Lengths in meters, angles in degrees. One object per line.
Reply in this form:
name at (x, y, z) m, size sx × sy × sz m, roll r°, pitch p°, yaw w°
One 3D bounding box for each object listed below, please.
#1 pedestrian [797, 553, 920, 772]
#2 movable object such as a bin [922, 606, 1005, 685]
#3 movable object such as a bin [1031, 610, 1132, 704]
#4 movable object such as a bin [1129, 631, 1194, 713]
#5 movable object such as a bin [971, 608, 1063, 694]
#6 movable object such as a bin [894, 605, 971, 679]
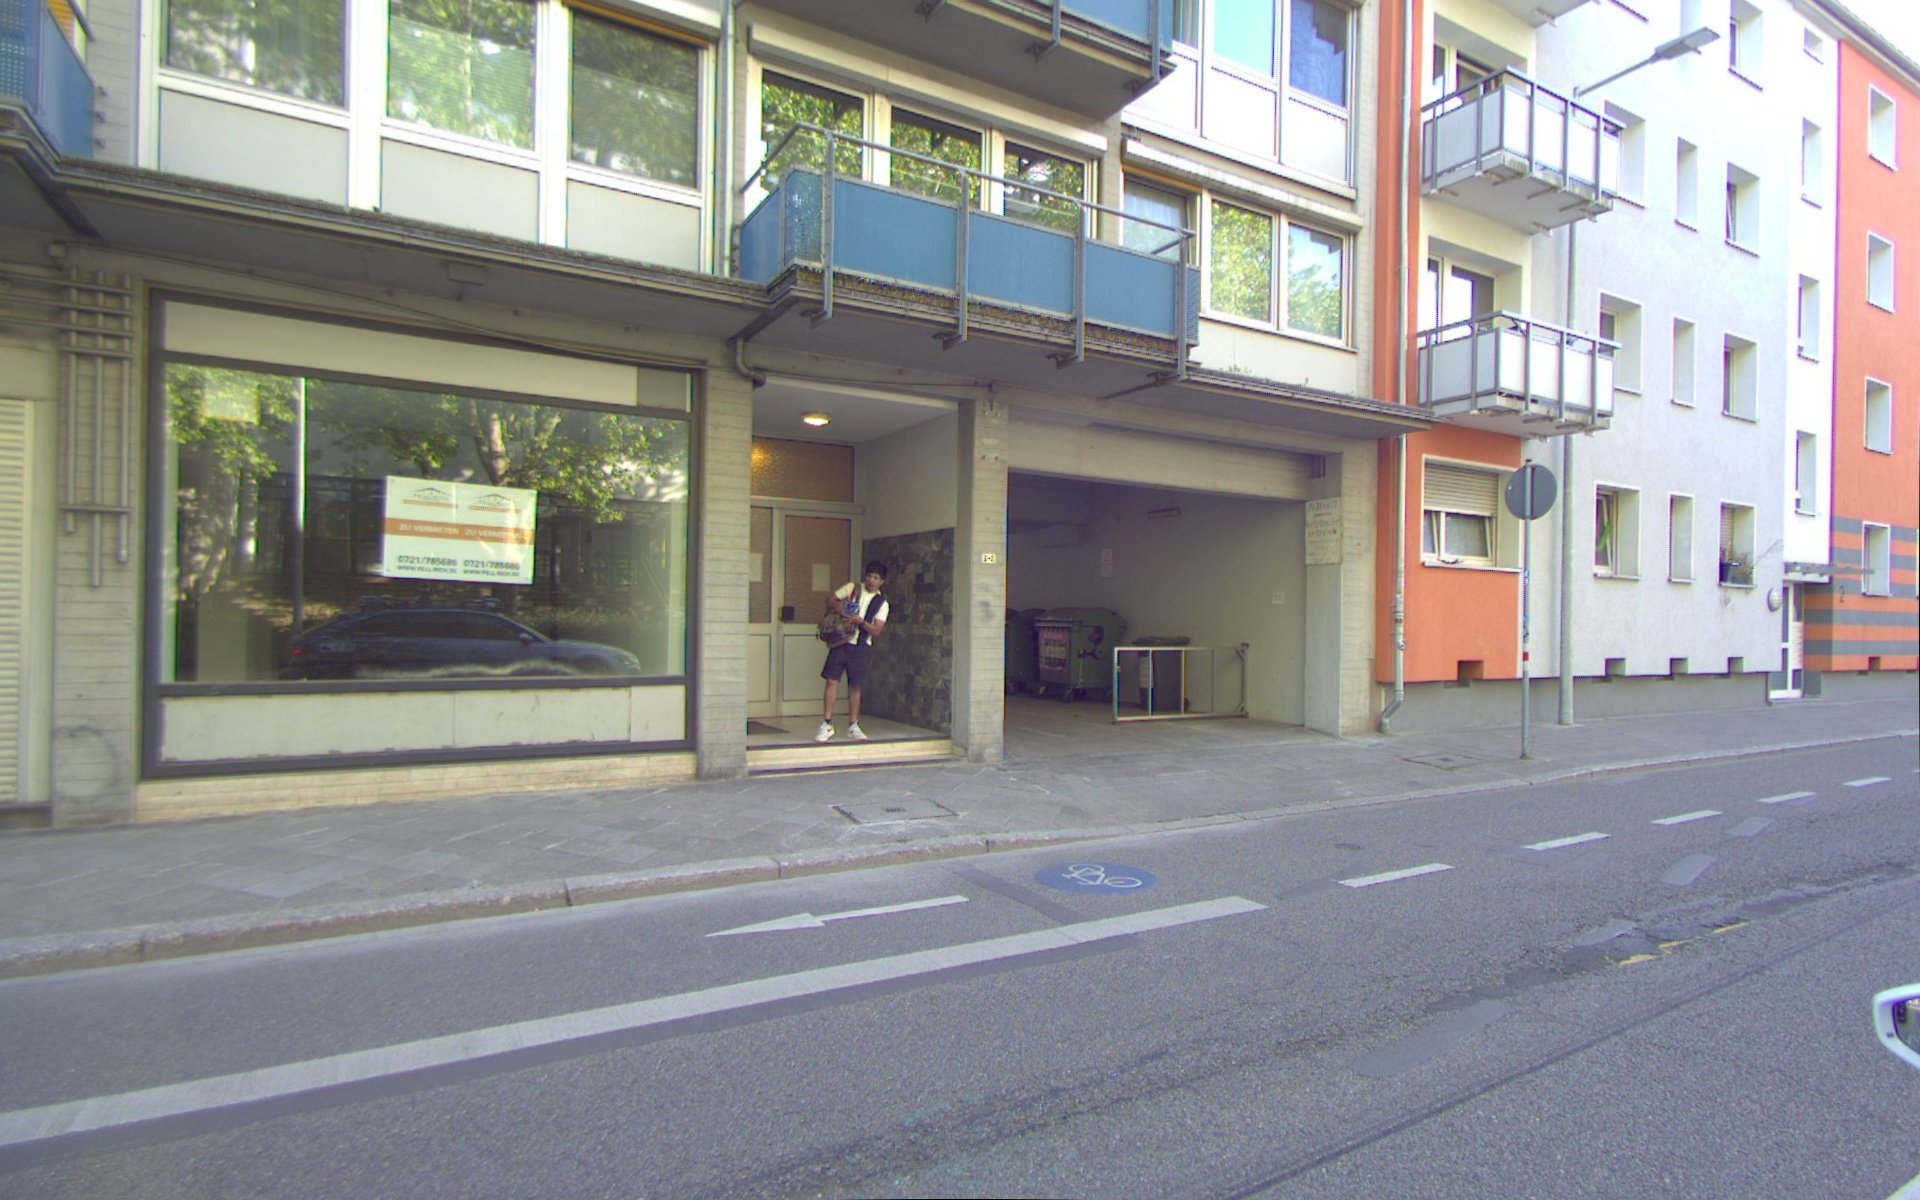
pedestrian at (-0.940, 0.553, 9.256) m, size 0.882 × 1.902 × 0.703 m, roll 2°, pitch 0°, yaw -28°
movable object such as a bin at (0.045, 0.825, 18.696) m, size 1.066 × 1.384 × 1.255 m, roll 2°, pitch 0°, yaw -27°
movable object such as a bin at (1.898, 0.868, 15.813) m, size 1.066 × 1.384 × 1.192 m, roll 2°, pitch 0°, yaw -27°
movable object such as a bin at (2.898, 1.027, 14.462) m, size 0.650 × 1.115 × 0.626 m, roll 2°, pitch 0°, yaw -27°
movable object such as a bin at (0.956, 0.845, 17.127) m, size 1.066 × 1.384 × 1.255 m, roll 2°, pitch 0°, yaw -27°
movable object such as a bin at (-0.563, 0.812, 19.866) m, size 1.066 × 1.384 × 1.255 m, roll 2°, pitch 0°, yaw -27°
